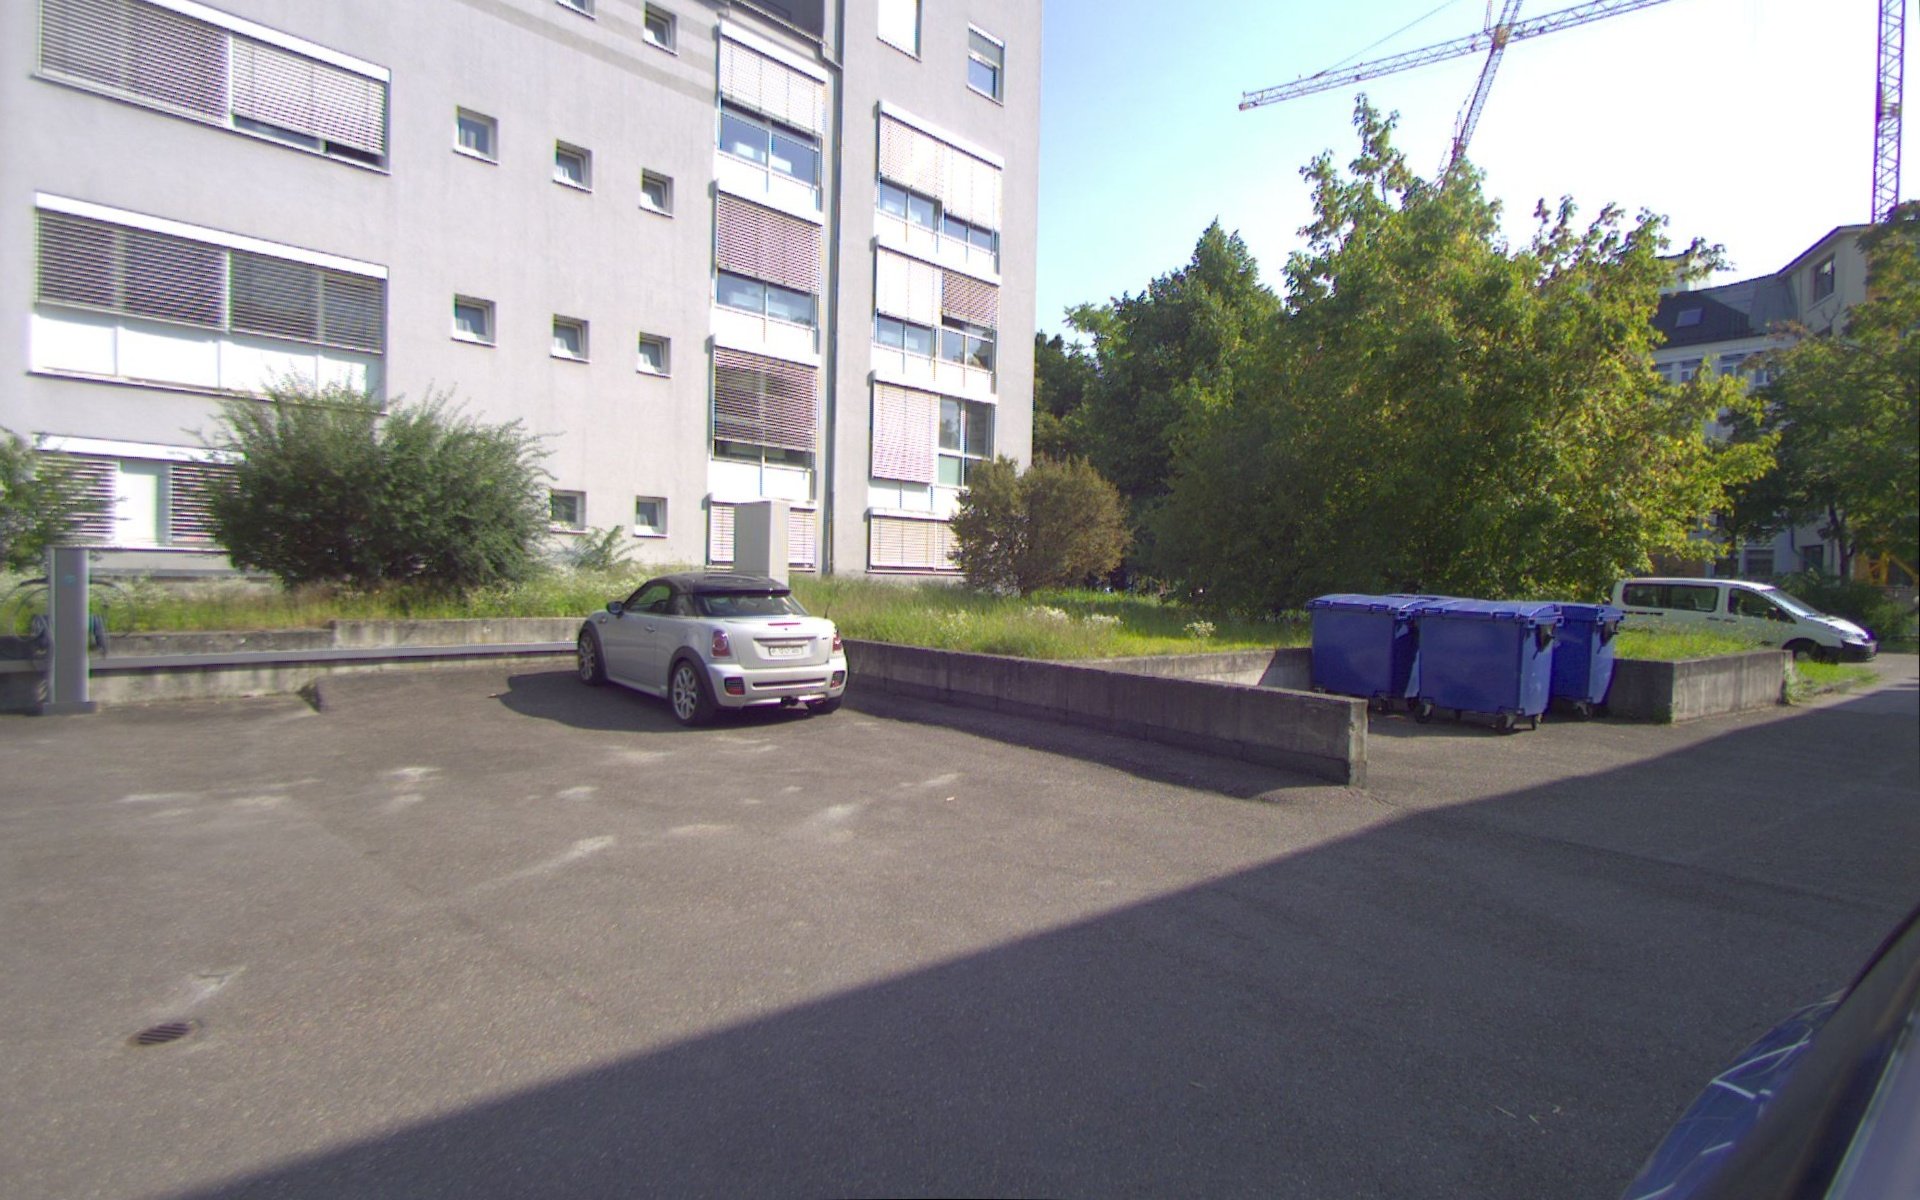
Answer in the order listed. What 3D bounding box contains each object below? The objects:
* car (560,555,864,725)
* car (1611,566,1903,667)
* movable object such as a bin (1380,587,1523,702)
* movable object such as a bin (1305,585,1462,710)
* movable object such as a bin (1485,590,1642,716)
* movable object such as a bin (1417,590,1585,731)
[{"bbox_3d":[-2.748,0.294,10.744,1.630,1.455,3.576,1,2,-42],"label":"car"},{"bbox_3d":[17.743,0.272,22.775,1.873,1.955,4.793,1,2,-37],"label":"car"},{"bbox_3d":[6.302,0.530,12.994,1.252,1.344,1.200,1,1,-38],"label":"movable object such as a bin"},{"bbox_3d":[5.031,0.518,12.043,1.252,1.344,1.257,1,1,-38],"label":"movable object such as a bin"},{"bbox_3d":[7.075,0.576,11.875,1.252,1.344,1.200,1,1,-38],"label":"movable object such as a bin"},{"bbox_3d":[5.840,0.601,10.933,1.253,1.368,1.213,0,1,-41],"label":"movable object such as a bin"}]
